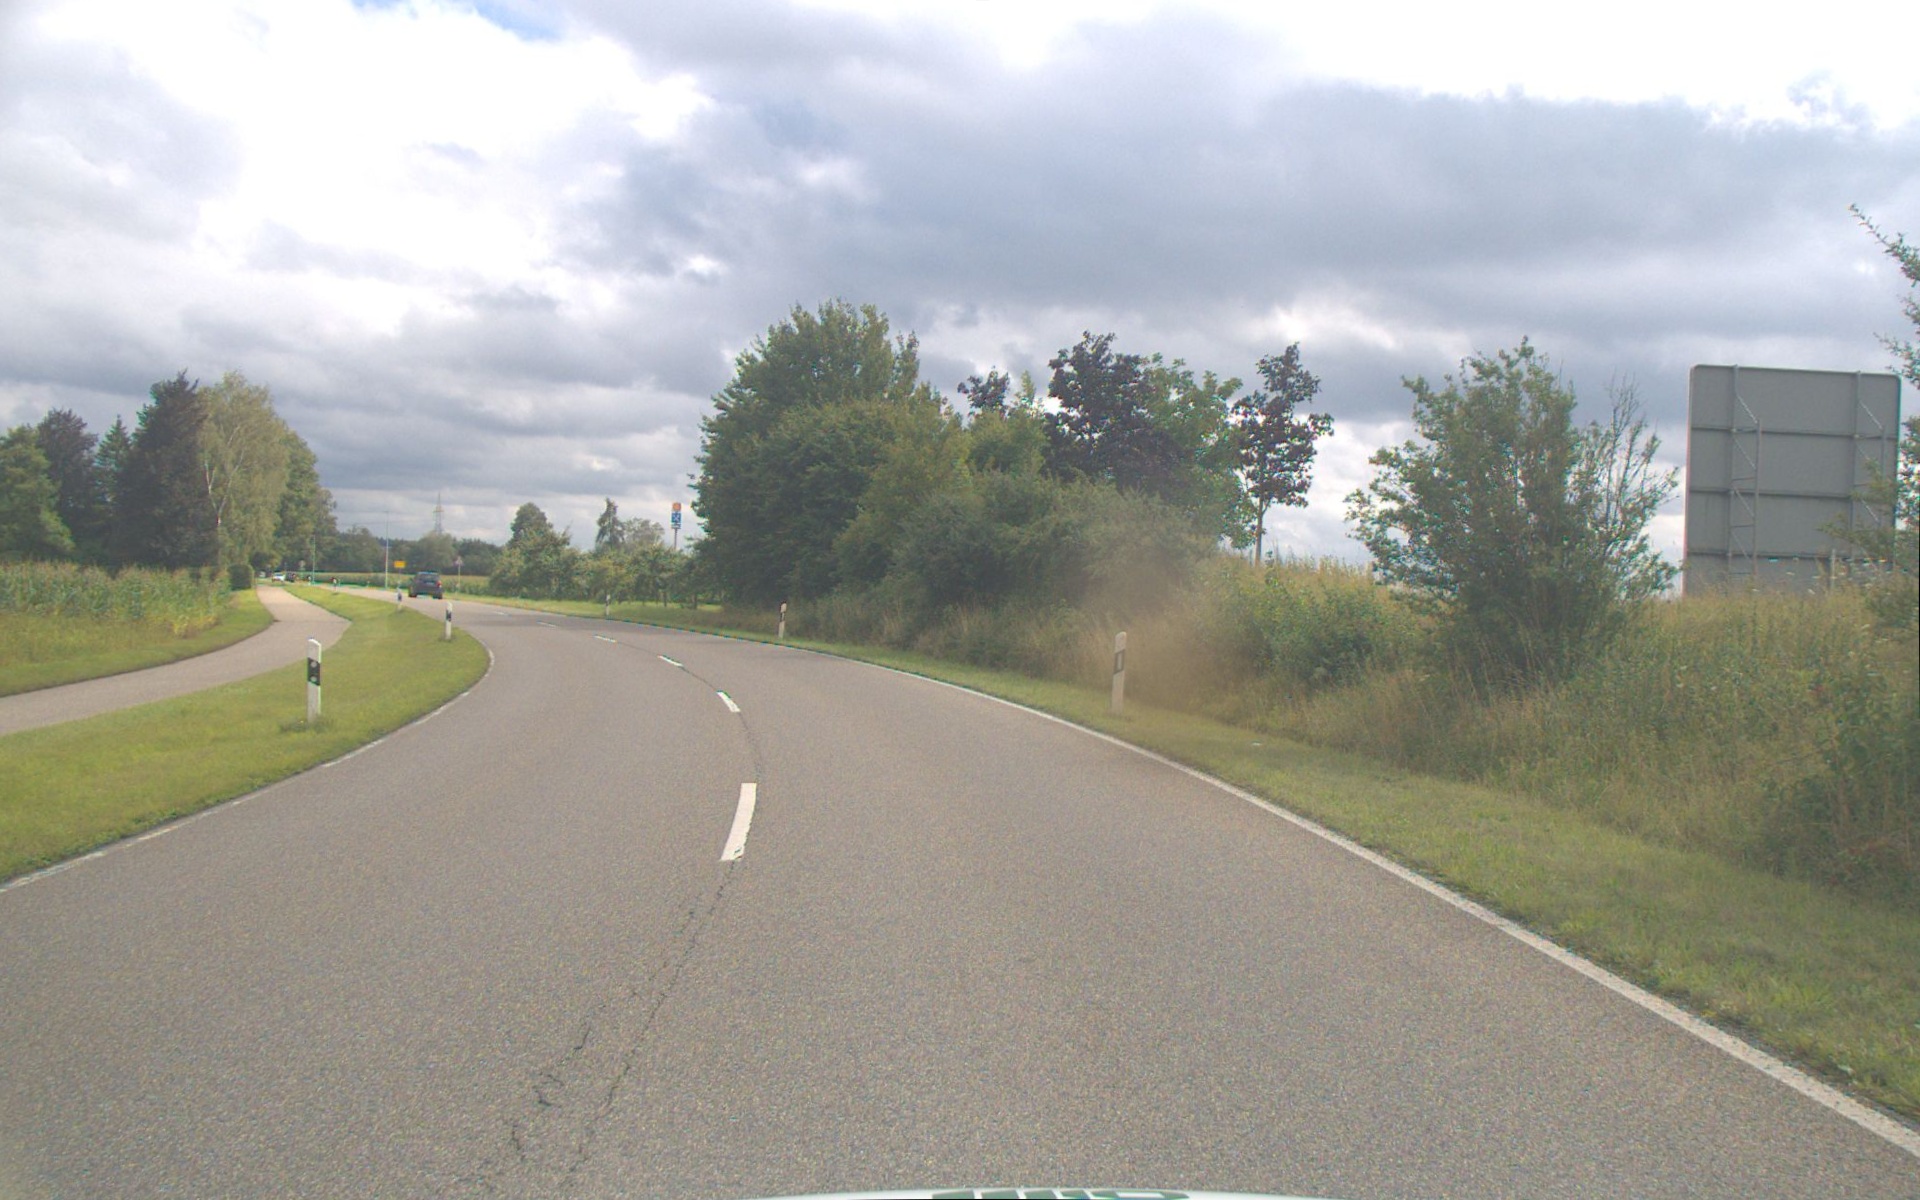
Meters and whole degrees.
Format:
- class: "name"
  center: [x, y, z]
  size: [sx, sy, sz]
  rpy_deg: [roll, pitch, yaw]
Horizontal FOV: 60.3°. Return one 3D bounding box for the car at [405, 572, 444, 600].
- class: "car"
  center: [-35.349, -0.919, 109.096]
  size: [1.883, 1.695, 3.967]
  rpy_deg: [3, 0, -26]
